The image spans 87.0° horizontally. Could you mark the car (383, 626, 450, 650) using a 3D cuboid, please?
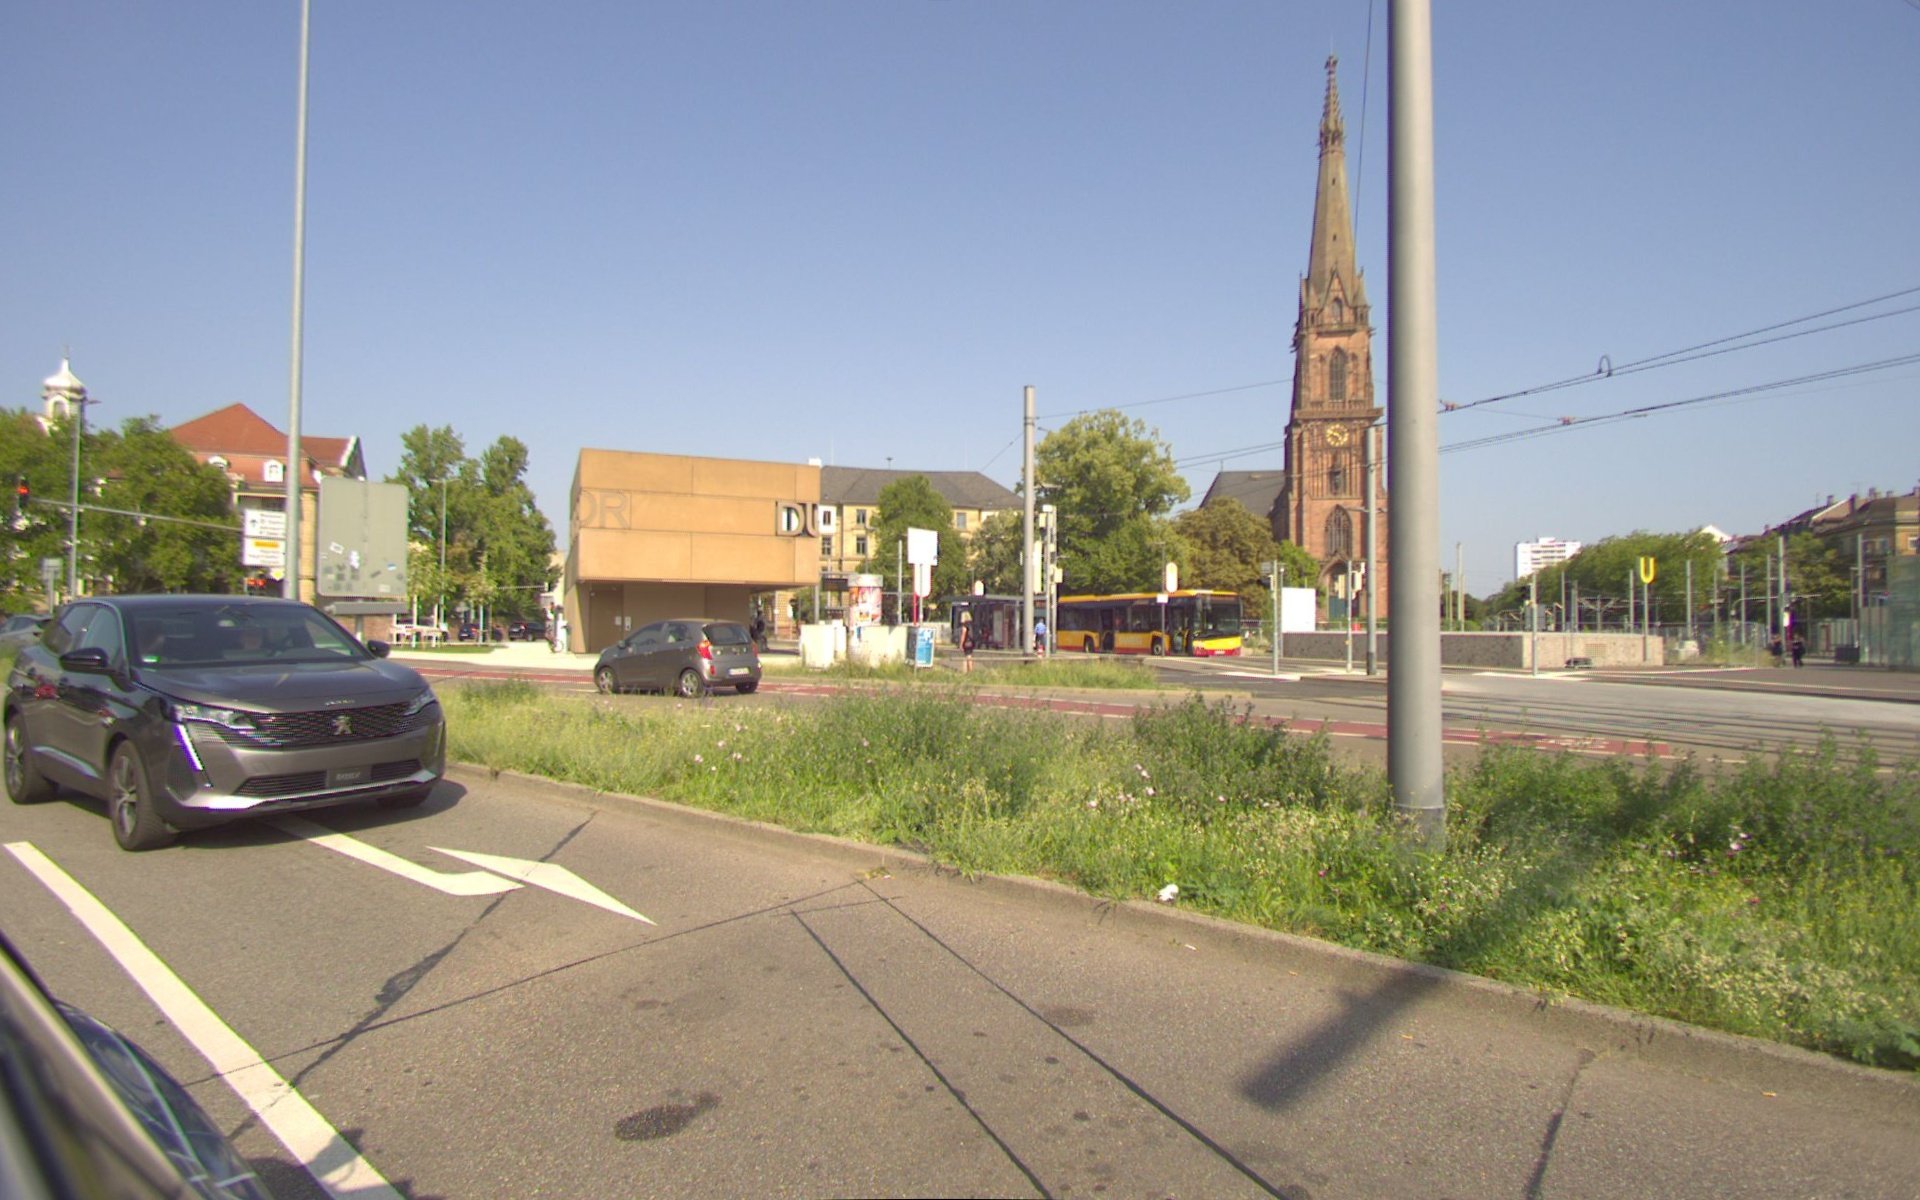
[{"bbox_3d":[-38.645,2.662,72.065,1.978,1.646,4.358,0,-2,10],"label":"car"}]

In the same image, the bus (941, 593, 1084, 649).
[{"bbox_3d":[2.730,1.309,60.038,3.242,3.000,12.838,1,-2,-23],"label":"bus"}]

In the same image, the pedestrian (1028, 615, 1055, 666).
[{"bbox_3d":[2.947,1.473,36.567,0.699,1.814,0.771,-1,-2,32],"label":"pedestrian"}]

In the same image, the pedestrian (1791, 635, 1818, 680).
[{"bbox_3d":[34.461,2.348,41.315,0.751,1.796,0.698,-1,-3,36],"label":"pedestrian"}]

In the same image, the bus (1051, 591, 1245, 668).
[{"bbox_3d":[8.303,1.377,47.312,2.669,3.132,12.254,1,-2,-23],"label":"bus"}]

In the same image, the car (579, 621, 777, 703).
[{"bbox_3d":[-5.570,1.152,19.883,3.667,1.463,1.872,-1,-2,35],"label":"car"}]

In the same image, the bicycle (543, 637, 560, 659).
[{"bbox_3d":[-16.606,1.960,41.142,0.582,0.844,1.552,-2,-1,-22],"label":"bicycle"}]

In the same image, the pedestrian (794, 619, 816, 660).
[{"bbox_3d":[-6.340,1.608,41.374,0.707,1.642,0.859,1,-2,-24],"label":"pedestrian"}]

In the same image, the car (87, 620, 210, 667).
[{"bbox_3d":[-26.172,1.371,32.611,4.210,1.444,1.800,-1,-2,32],"label":"car"}]

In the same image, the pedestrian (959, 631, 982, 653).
[{"bbox_3d":[0.574,2.263,54.324,1.013,1.142,0.740,1,-2,-31],"label":"pedestrian"}]

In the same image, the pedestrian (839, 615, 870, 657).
[{"bbox_3d":[-4.223,1.438,40.549,0.861,1.685,0.981,-1,-2,27],"label":"pedestrian"}]

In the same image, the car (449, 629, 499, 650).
[{"bbox_3d":[-37.624,3.039,78.420,1.607,1.509,3.839,0,-2,9],"label":"car"}]

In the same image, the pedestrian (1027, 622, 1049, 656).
[{"bbox_3d":[3.966,1.984,51.591,0.816,1.752,0.838,1,-2,-27],"label":"pedestrian"}]

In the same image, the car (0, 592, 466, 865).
[{"bbox_3d":[-5.660,0.764,7.536,4.362,1.503,1.668,-1,-2,35],"label":"car"}]

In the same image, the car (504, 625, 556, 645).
[{"bbox_3d":[-35.975,2.962,84.837,1.977,1.646,4.359,0,-2,9],"label":"car"}]

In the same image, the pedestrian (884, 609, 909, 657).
[{"bbox_3d":[-2.407,1.252,38.369,0.689,1.814,0.782,1,-2,-25],"label":"pedestrian"}]

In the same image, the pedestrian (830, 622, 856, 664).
[{"bbox_3d":[-4.542,1.667,39.347,0.851,1.571,0.993,1,-2,-16],"label":"pedestrian"}]

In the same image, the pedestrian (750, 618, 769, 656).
[{"bbox_3d":[-9.307,1.714,46.985,0.707,1.751,0.859,1,-2,-24],"label":"pedestrian"}]

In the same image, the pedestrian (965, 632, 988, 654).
[{"bbox_3d":[0.869,2.262,53.502,1.013,1.142,0.740,1,-2,-31],"label":"pedestrian"}]

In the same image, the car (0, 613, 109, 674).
[{"bbox_3d":[-26.404,1.200,28.889,4.441,1.629,1.683,-1,-2,28],"label":"car"}]

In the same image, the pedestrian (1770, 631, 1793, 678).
[{"bbox_3d":[33.842,2.238,41.705,0.651,1.880,0.713,-1,-3,36],"label":"pedestrian"}]

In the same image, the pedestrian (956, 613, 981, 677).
[{"bbox_3d":[0.236,1.277,28.927,0.691,1.814,0.780,0,-2,-1],"label":"pedestrian"}]

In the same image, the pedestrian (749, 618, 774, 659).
[{"bbox_3d":[-8.574,1.665,43.721,0.851,1.718,0.734,1,-2,-26],"label":"pedestrian"}]
